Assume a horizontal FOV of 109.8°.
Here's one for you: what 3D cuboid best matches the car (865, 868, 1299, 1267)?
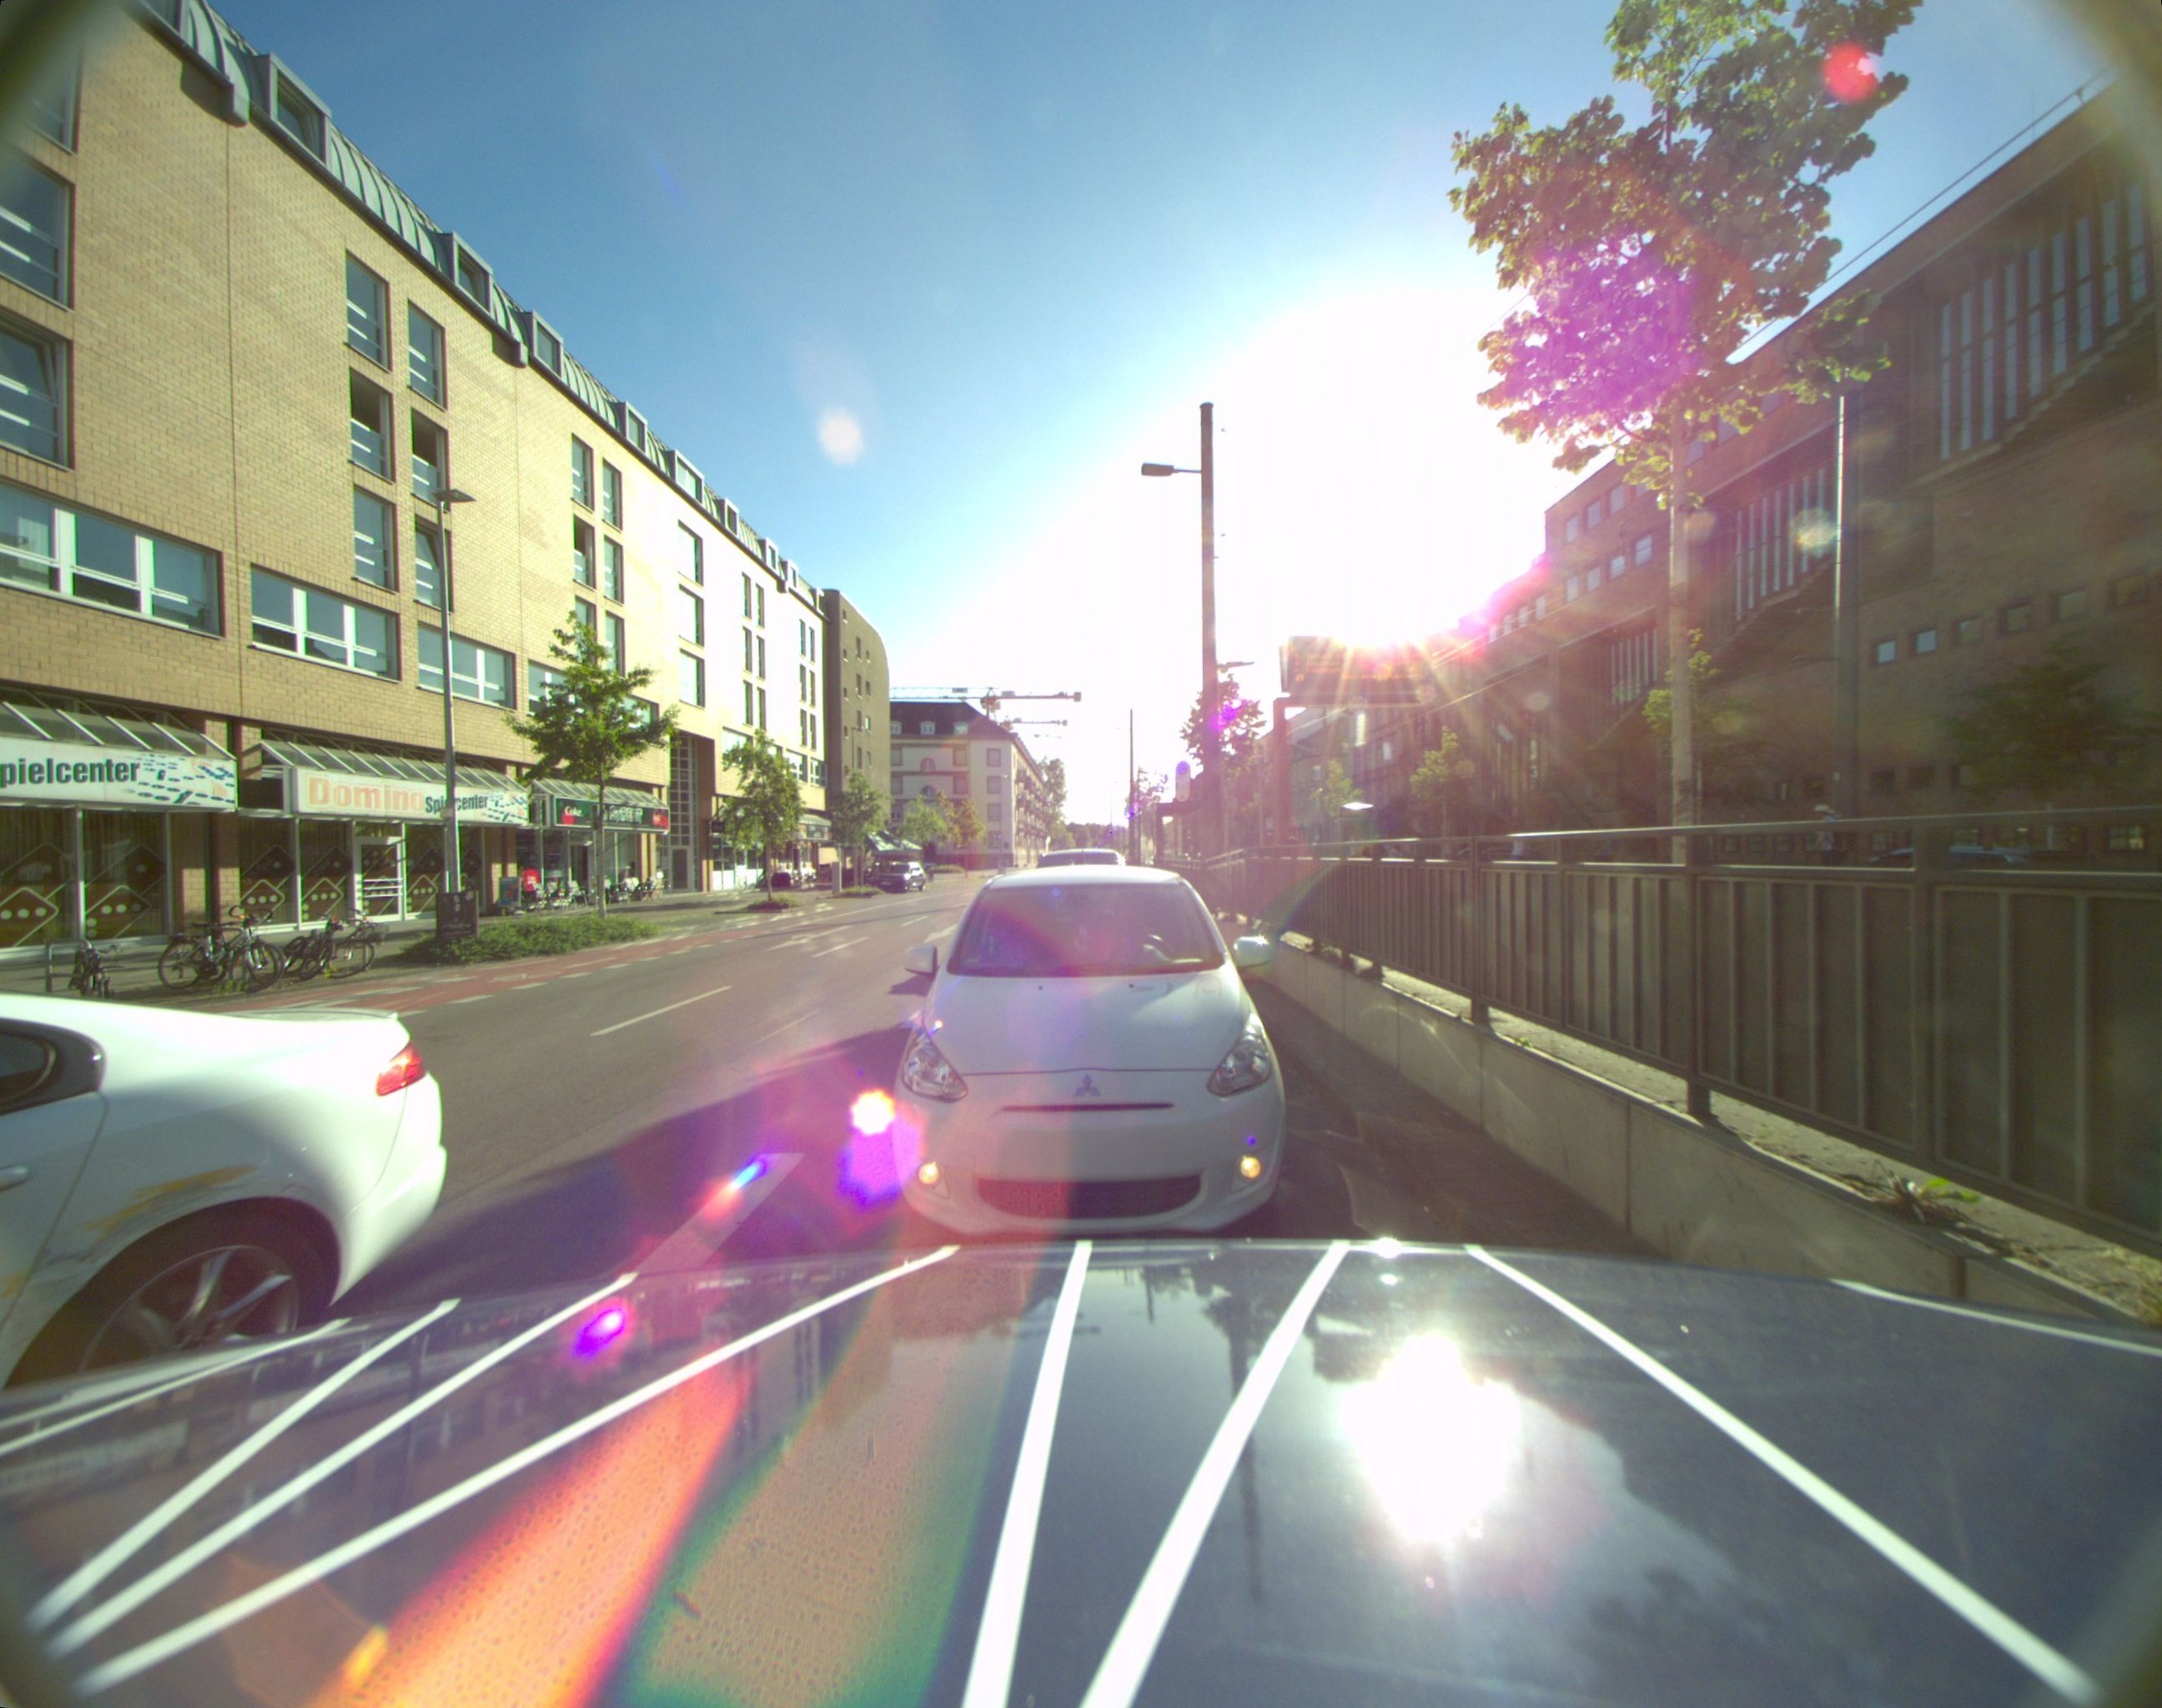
[{"bbox_3d":[0.005,0.917,5.227,1.720,1.422,4.215,-2,1,0],"label":"car"}]

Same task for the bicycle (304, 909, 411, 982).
[{"bbox_3d":[-11.898,1.487,12.489,1.835,1.050,0.350,1,2,15],"label":"bicycle"}]

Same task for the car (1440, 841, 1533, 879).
[{"bbox_3d":[17.964,0.215,33.906,1.830,1.559,4.240,0,1,-1],"label":"car"}]

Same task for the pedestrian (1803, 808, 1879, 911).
[{"bbox_3d":[13.750,0.087,13.758,0.685,1.797,0.668,-2,2,0],"label":"pedestrian"}]

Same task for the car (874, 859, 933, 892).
[{"bbox_3d":[-9.654,1.155,41.619,1.778,1.630,4.002,1,1,9],"label":"car"}]

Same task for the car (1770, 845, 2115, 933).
[{"bbox_3d":[17.692,0.607,16.068,1.830,1.559,4.692,0,1,-3],"label":"car"}]

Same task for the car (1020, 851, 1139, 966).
[{"bbox_3d":[-0.023,0.817,13.501,1.720,1.591,4.215,-2,1,0],"label":"car"}]

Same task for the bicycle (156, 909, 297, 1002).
[{"bbox_3d":[-12.317,1.437,10.951,1.835,1.156,0.565,1,2,15],"label":"bicycle"}]

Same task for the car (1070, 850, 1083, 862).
[{"bbox_3d":[-0.755,0.360,136.678,2.164,1.904,4.472,-2,0,0],"label":"car"}]

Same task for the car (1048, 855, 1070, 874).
[{"bbox_3d":[-1.978,0.910,69.711,1.808,1.586,4.453,-3,0,1],"label":"car"}]

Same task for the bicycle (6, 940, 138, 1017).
[{"bbox_3d":[-13.018,1.590,9.802,1.772,0.827,0.366,1,2,15],"label":"bicycle"}]

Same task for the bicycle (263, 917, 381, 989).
[{"bbox_3d":[-12.014,1.545,12.025,1.835,0.980,0.449,1,2,15],"label":"bicycle"}]

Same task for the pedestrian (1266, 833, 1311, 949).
[{"bbox_3d":[4.442,0.774,16.290,0.684,2.428,0.626,-2,2,-2],"label":"pedestrian"}]

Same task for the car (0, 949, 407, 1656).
[{"bbox_3d":[-3.326,1.060,0.408,1.807,1.421,4.453,-1,0,2],"label":"car"}]
